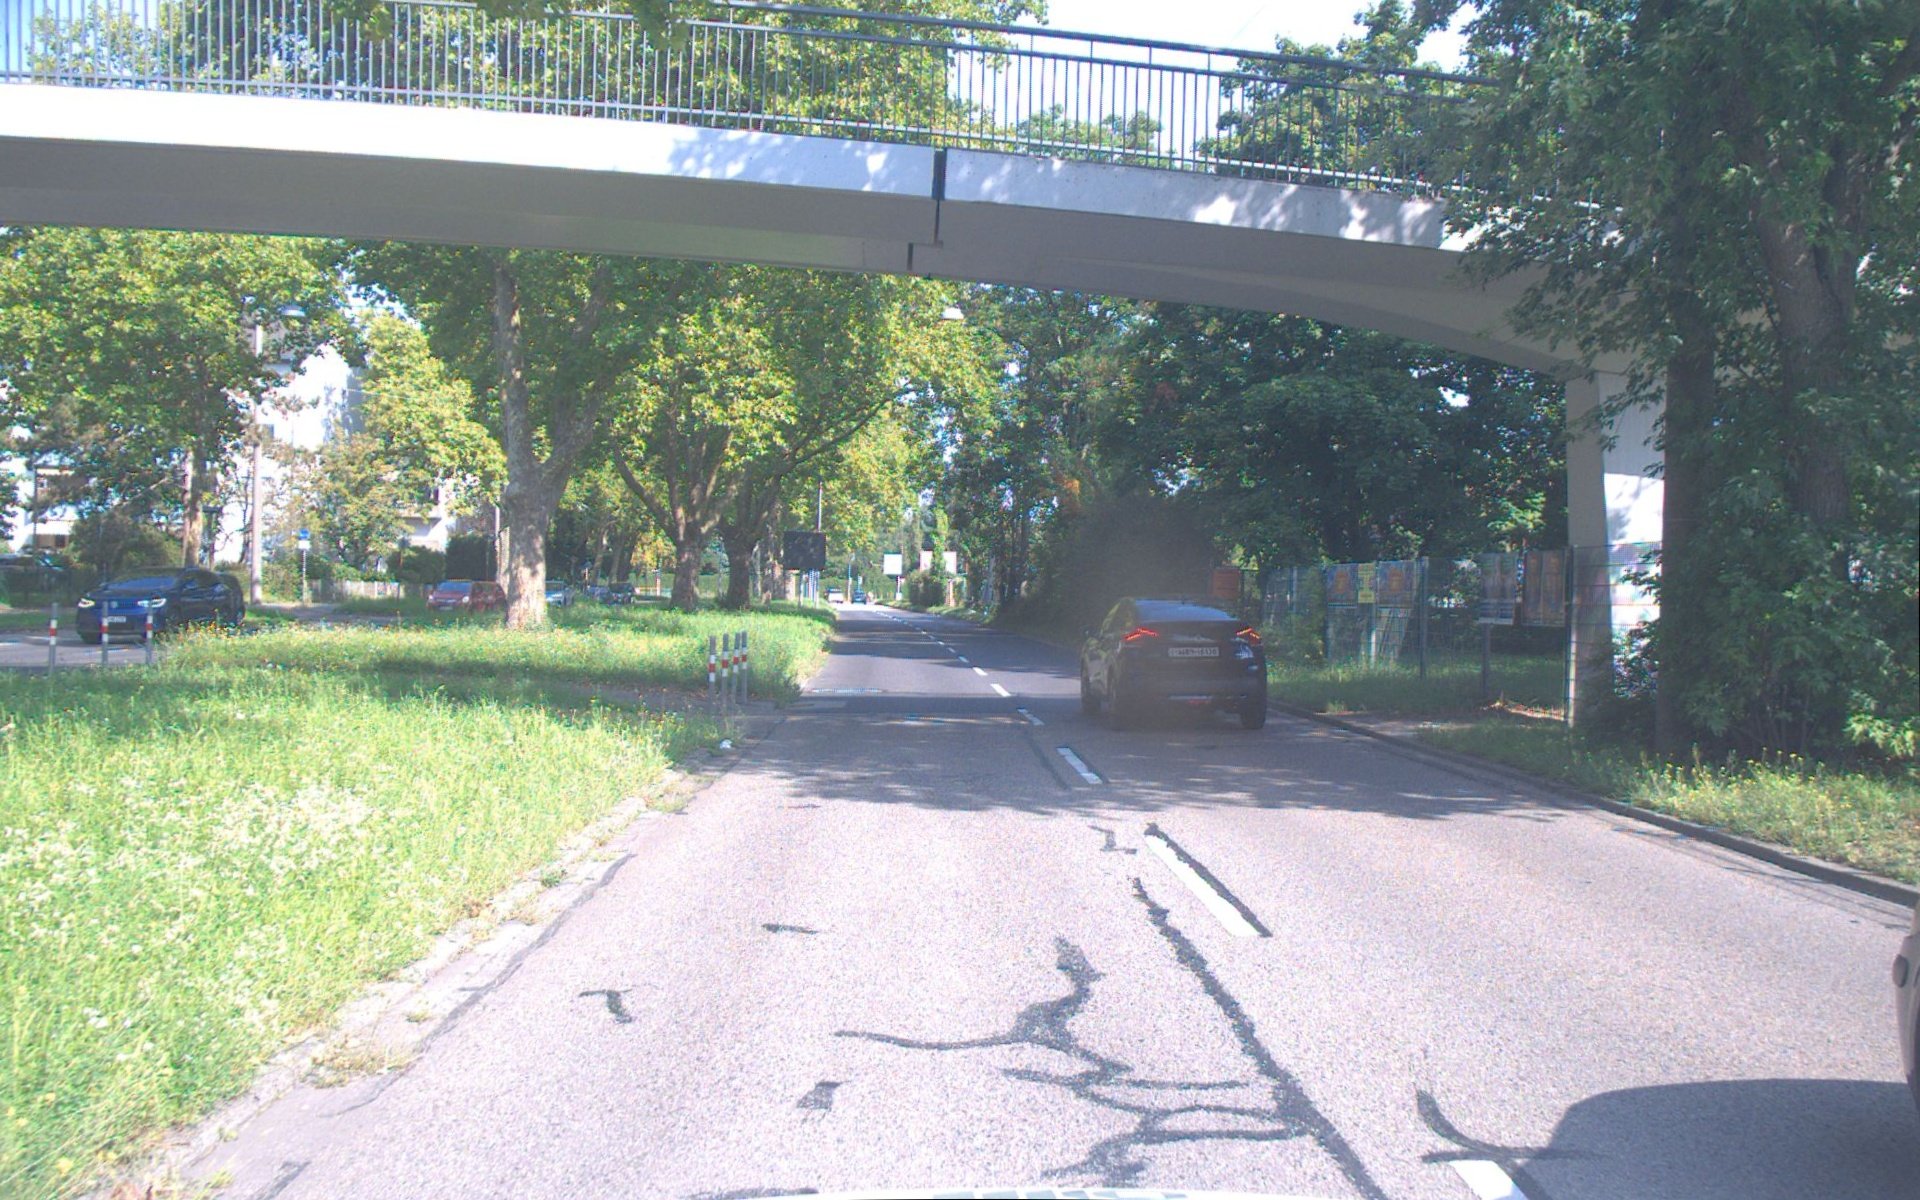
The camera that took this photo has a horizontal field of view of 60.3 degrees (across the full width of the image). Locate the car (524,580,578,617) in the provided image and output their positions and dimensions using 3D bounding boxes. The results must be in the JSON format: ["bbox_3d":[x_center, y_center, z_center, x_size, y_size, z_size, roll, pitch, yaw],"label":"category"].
[{"bbox_3d":[-20.415,-0.092,82.755,1.766,1.750,4.716,1,0,-4],"label":"car"}]

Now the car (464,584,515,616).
[{"bbox_3d":[-23.123,0.005,81.405,1.508,1.477,4.061,2,0,-4],"label":"car"}]

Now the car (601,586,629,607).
[{"bbox_3d":[-27.814,-0.274,133.383,1.666,1.595,3.996,1,0,-5],"label":"car"}]

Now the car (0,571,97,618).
[{"bbox_3d":[-37.881,-0.222,67.973,3.962,1.803,1.971,2,0,-40],"label":"car"}]

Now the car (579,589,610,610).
[{"bbox_3d":[-27.611,-0.030,125.087,1.666,1.534,4.536,1,0,-5],"label":"car"}]

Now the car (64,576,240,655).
[{"bbox_3d":[-17.337,0.319,35.731,1.752,1.560,4.453,2,0,-3],"label":"car"}]

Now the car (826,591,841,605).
[{"bbox_3d":[-13.959,-0.204,182.844,1.654,1.487,3.996,2,0,-4],"label":"car"}]

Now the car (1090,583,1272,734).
[{"bbox_3d":[2.563,0.645,20.046,1.611,1.616,4.254,1,0,0],"label":"car"}]

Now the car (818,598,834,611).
[{"bbox_3d":[-15.907,0.585,196.904,1.653,1.487,3.848,2,0,-1],"label":"car"}]

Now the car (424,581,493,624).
[{"bbox_3d":[-19.176,0.079,63.391,1.658,1.559,4.065,1,0,-5],"label":"car"}]

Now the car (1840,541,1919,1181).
[{"bbox_3d":[3.245,0.662,2.526,1.612,1.584,3.897,2,0,-2],"label":"car"}]

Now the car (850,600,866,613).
[{"bbox_3d":[-11.985,0.719,194.111,1.763,1.425,3.995,2,0,-6],"label":"car"}]
